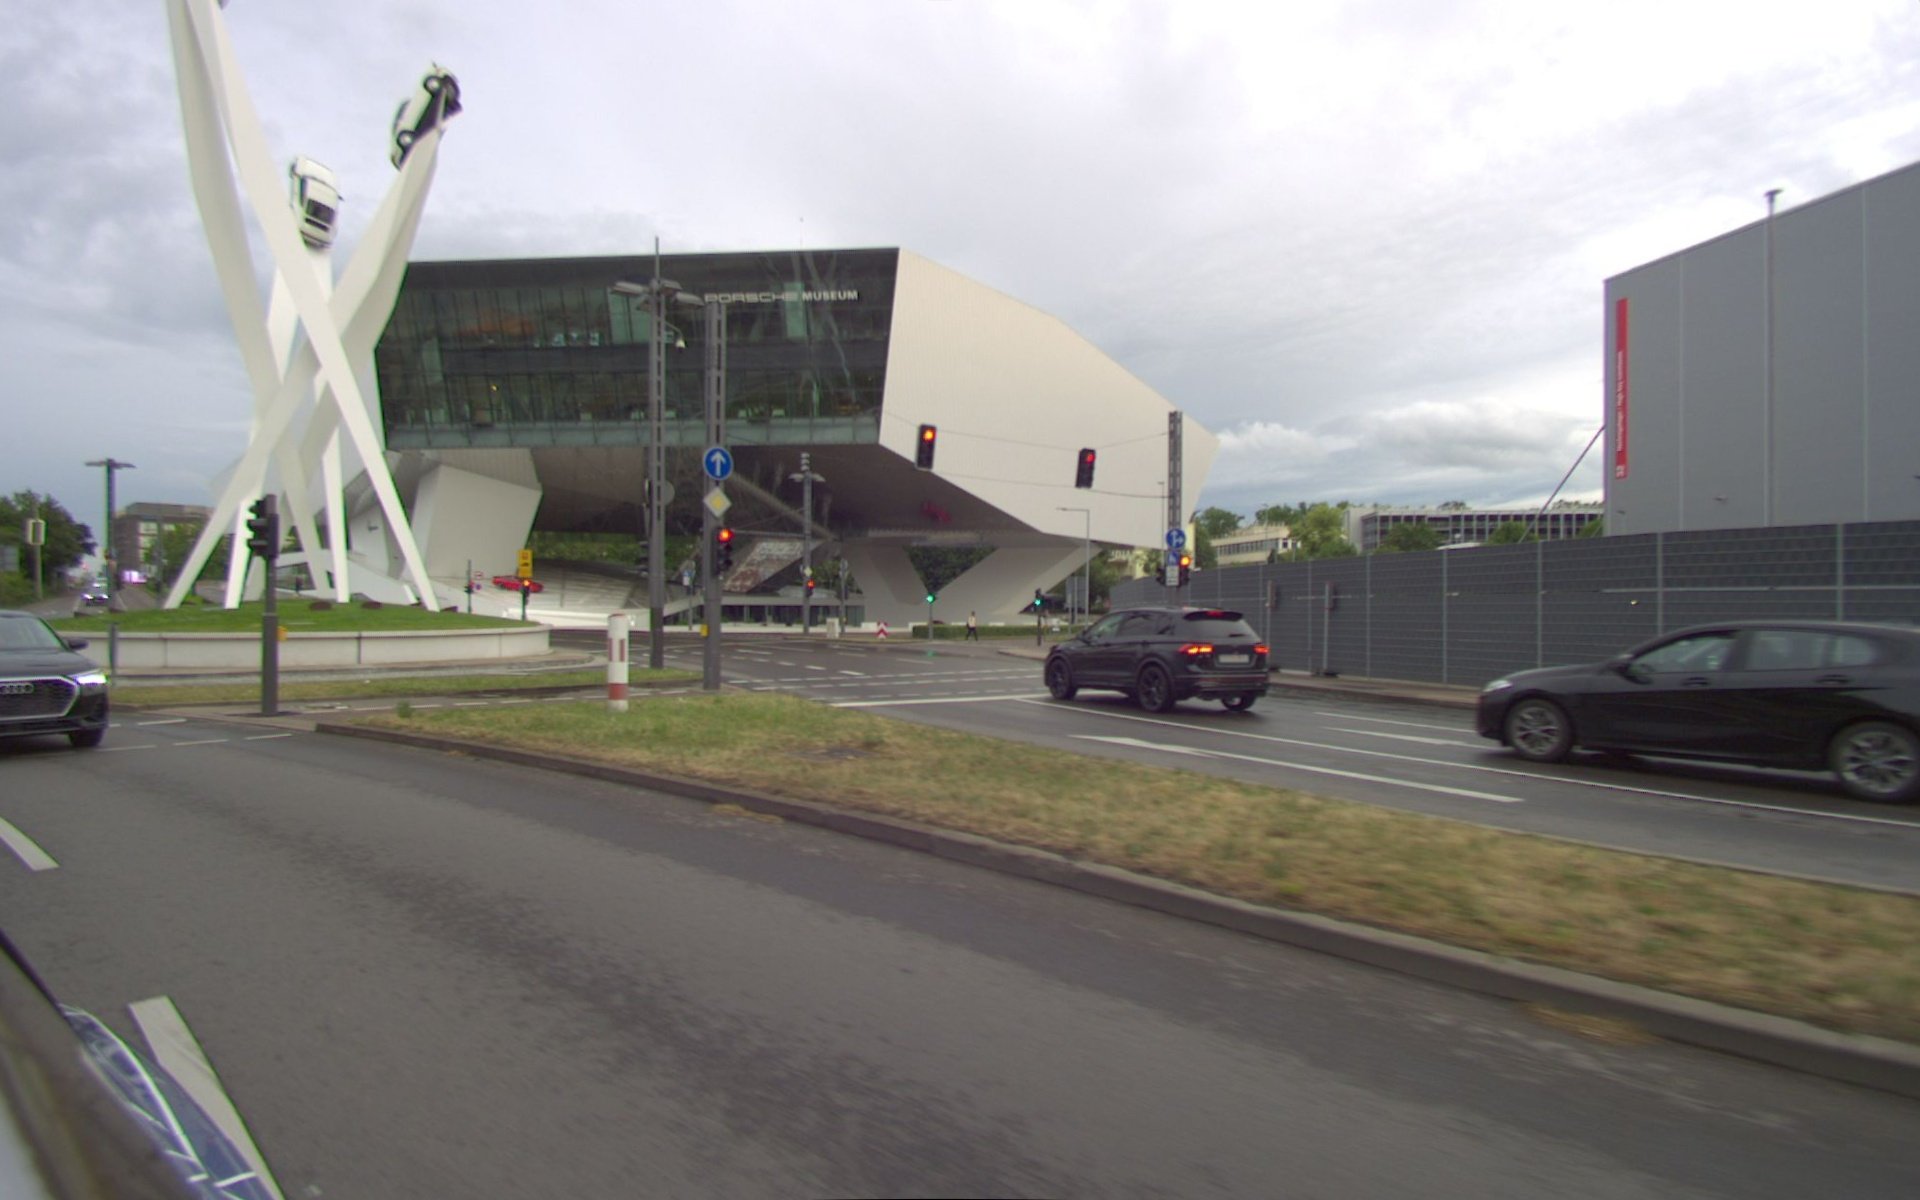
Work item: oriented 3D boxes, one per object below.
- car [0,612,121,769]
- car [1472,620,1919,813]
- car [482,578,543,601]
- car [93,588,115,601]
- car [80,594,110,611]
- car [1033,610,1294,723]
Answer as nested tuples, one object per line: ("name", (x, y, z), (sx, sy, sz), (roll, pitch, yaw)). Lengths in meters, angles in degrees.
("car", (-11.178, 0.920, 11.206), (4.382, 1.529, 1.738), (-1, -1, 34))
("car", (7.310, 0.918, 9.244), (1.758, 1.451, 4.408), (0, -1, -33))
("car", (-38.320, -0.876, 86.729), (4.193, 1.394, 1.998), (8, 1, 4))
("car", (-106.588, -0.655, 126.043), (1.791, 1.449, 4.304), (1, -2, -45))
("car", (-80.191, 0.233, 93.763), (1.791, 1.449, 4.304), (1, -2, -45))
("car", (3.148, 0.987, 16.732), (1.757, 1.600, 4.581), (0, -1, -27))
